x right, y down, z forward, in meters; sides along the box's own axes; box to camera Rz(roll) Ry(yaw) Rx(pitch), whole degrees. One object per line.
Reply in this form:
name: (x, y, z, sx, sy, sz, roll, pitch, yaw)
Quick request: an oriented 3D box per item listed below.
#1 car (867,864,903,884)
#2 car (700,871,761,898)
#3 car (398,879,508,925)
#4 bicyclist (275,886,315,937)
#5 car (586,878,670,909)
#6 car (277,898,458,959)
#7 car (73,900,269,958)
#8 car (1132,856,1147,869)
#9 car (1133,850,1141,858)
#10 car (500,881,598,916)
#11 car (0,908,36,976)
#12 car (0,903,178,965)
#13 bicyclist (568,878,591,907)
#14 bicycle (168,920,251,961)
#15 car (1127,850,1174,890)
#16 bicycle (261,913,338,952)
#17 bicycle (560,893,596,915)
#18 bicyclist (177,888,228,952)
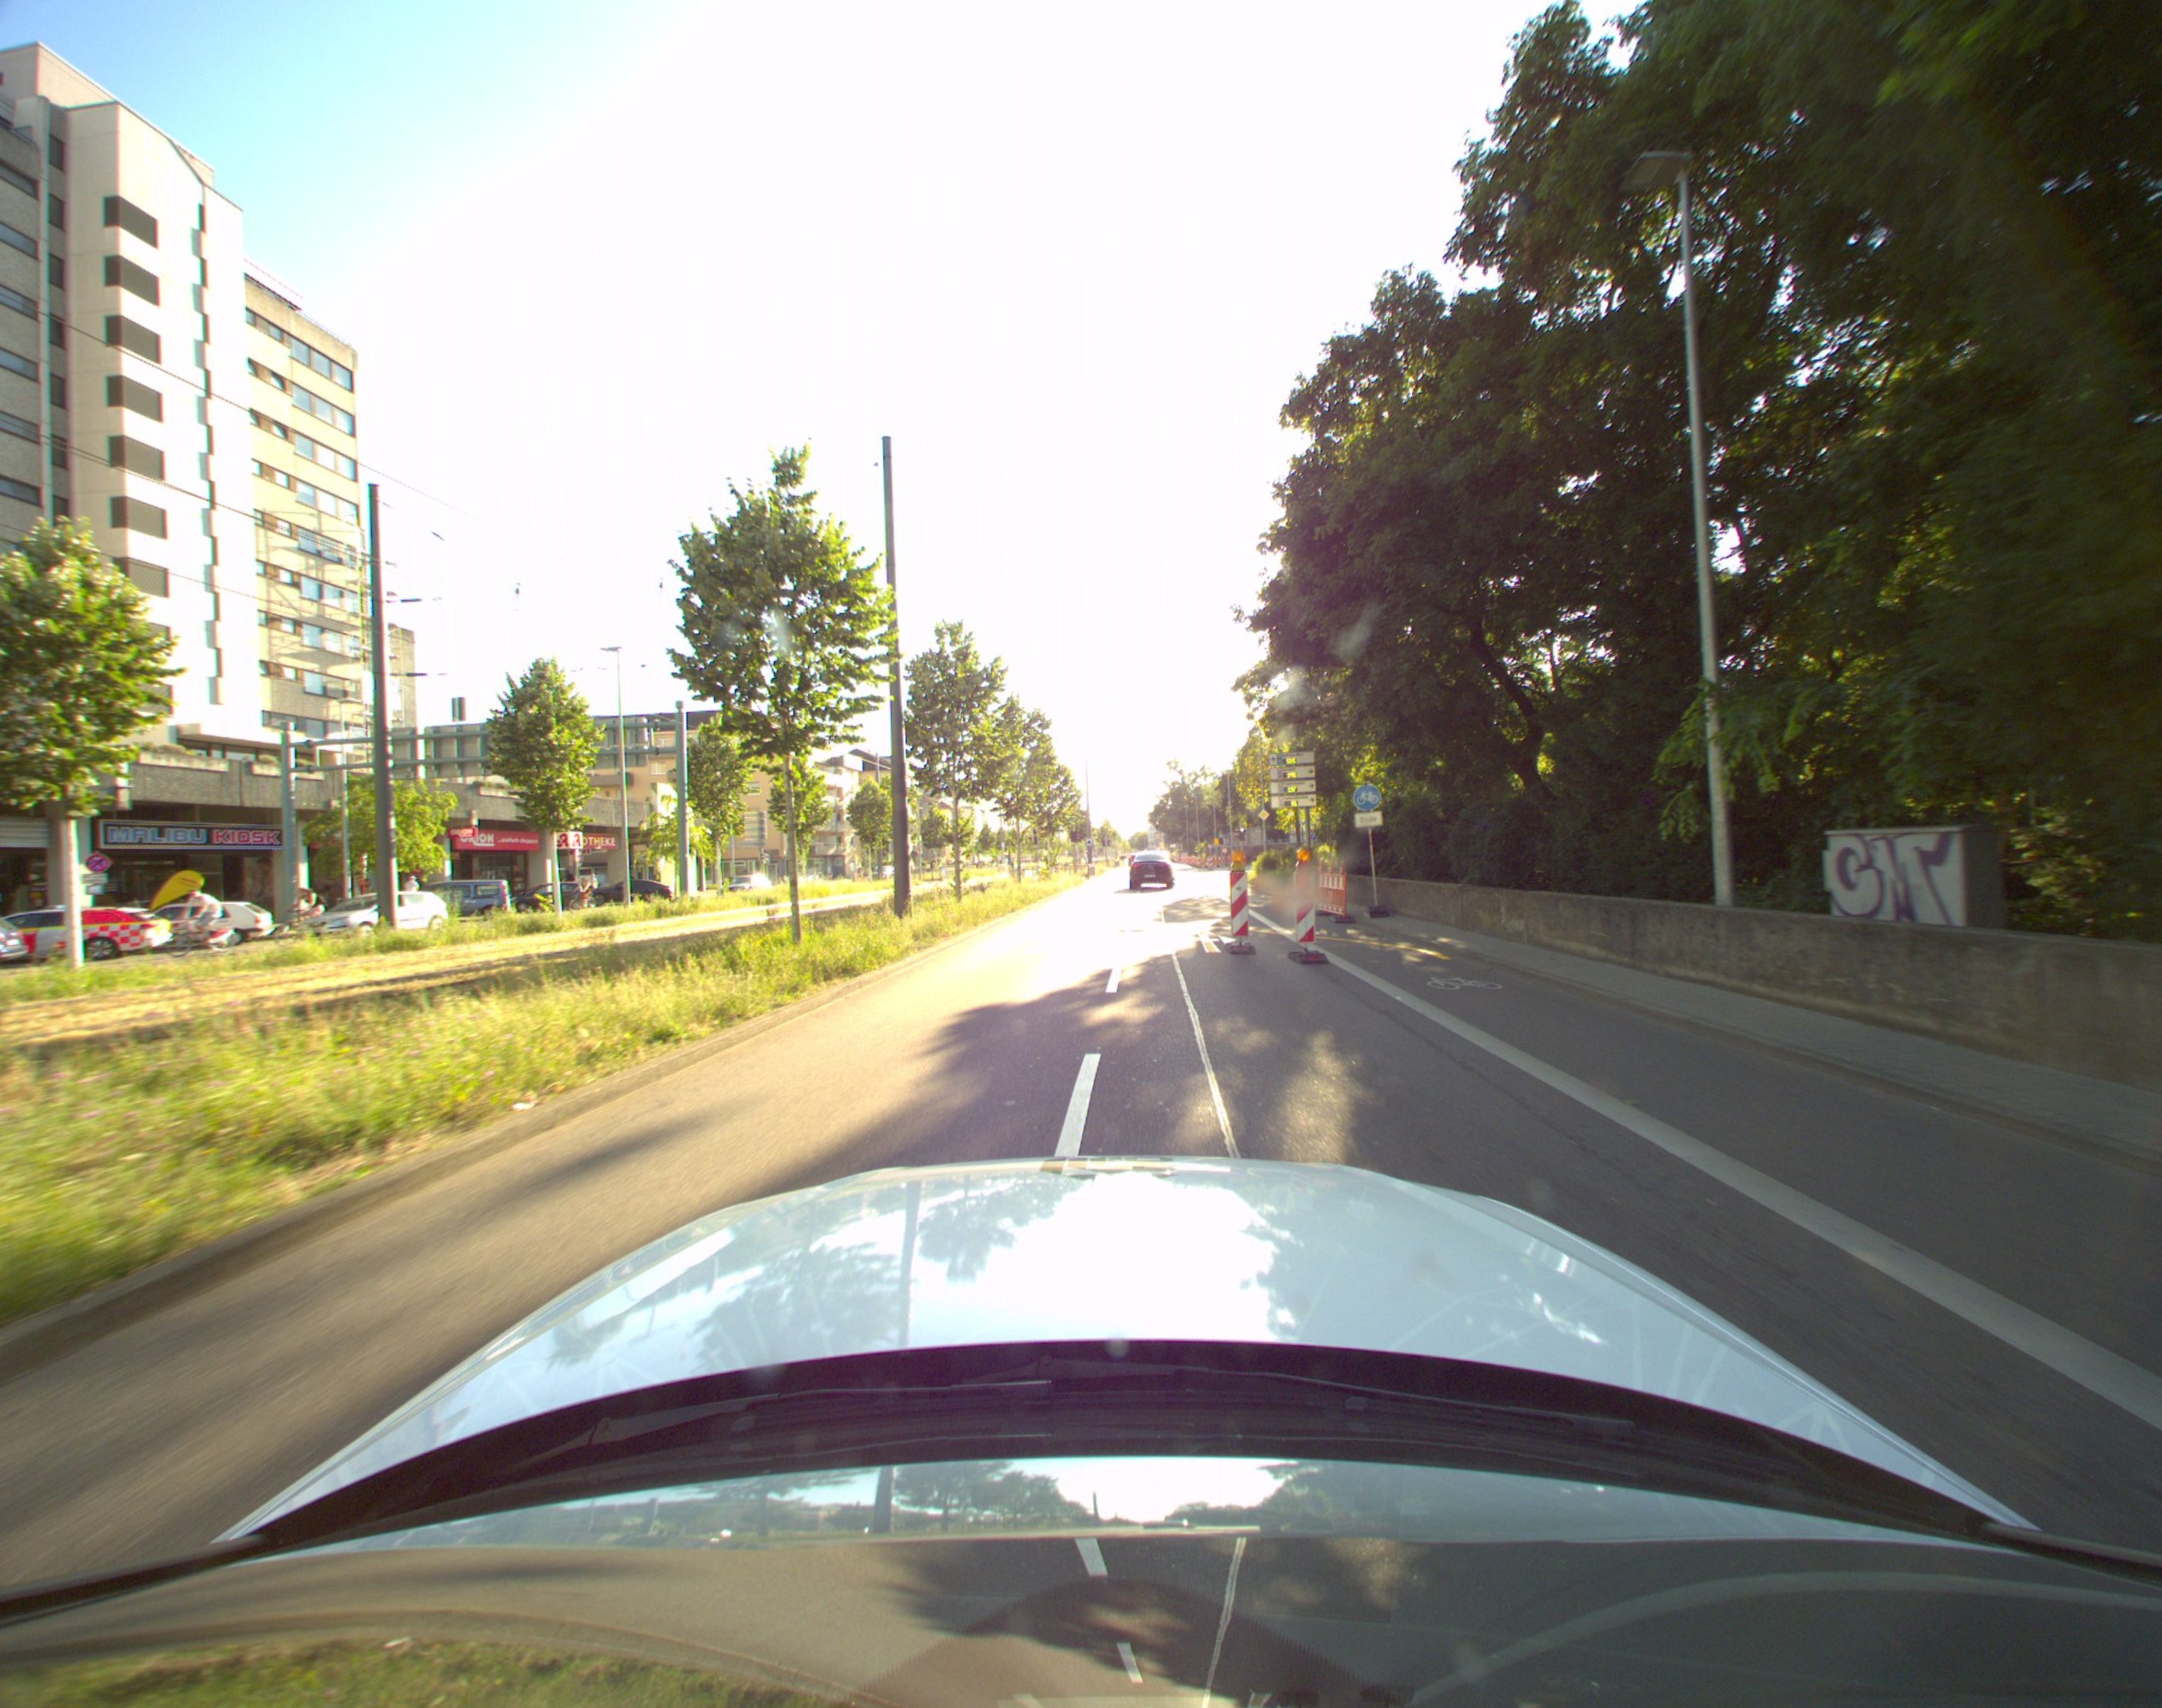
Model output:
car: (-17.262, 1.723, 71.799, 1.876, 1.640, 4.005, -3, 0, 4)
car: (-20.980, 1.785, 48.910, 1.926, 1.397, 3.689, -3, 0, 2)
car: (-27.730, 2.077, 36.128, 3.775, 1.829, 1.805, -1, 0, -36)
bicyclist: (-24.566, 1.779, 25.453, 0.549, 1.544, 0.683, -1, 0, 5)
car: (-26.591, 2.296, 47.836, 4.019, 1.563, 1.977, -1, 0, -38)
car: (-22.146, 2.267, 25.506, 1.876, 1.514, 4.007, -1, 0, 6)
car: (-28.782, 2.322, 25.971, 4.023, 1.453, 1.765, -1, 0, -44)
car: (7.578, 1.060, 105.942, 1.877, 1.580, 4.004, -1, 0, 4)
car: (12.354, 0.010, 179.765, 1.877, 1.580, 4.004, -1, 0, 4)
car: (-28.010, 2.288, 42.948, 4.023, 1.574, 1.975, -1, 0, -44)
car: (-28.942, 2.224, 19.737, 4.114, 1.601, 1.731, 0, 0, -37)
car: (-28.697, 2.247, 23.237, 3.642, 1.523, 1.603, 0, -1, -37)
bicyclist: (-24.407, 1.877, 39.635, 0.589, 1.355, 0.760, -1, 0, 1)
bicycle: (-25.555, 2.517, 23.911, 0.542, 0.993, 1.712, -1, 0, 2)
car: (3.199, 0.715, 38.231, 1.986, 1.734, 4.002, -1, 0, 2)
bicycle: (-24.548, 2.445, 25.615, 0.551, 1.040, 1.794, -1, 0, 5)
bicycle: (-24.409, 2.406, 39.546, 0.604, 0.963, 1.718, -1, 0, 2)
bicyclist: (-25.572, 1.910, 23.714, 0.538, 1.788, 0.858, -1, 0, 2)
